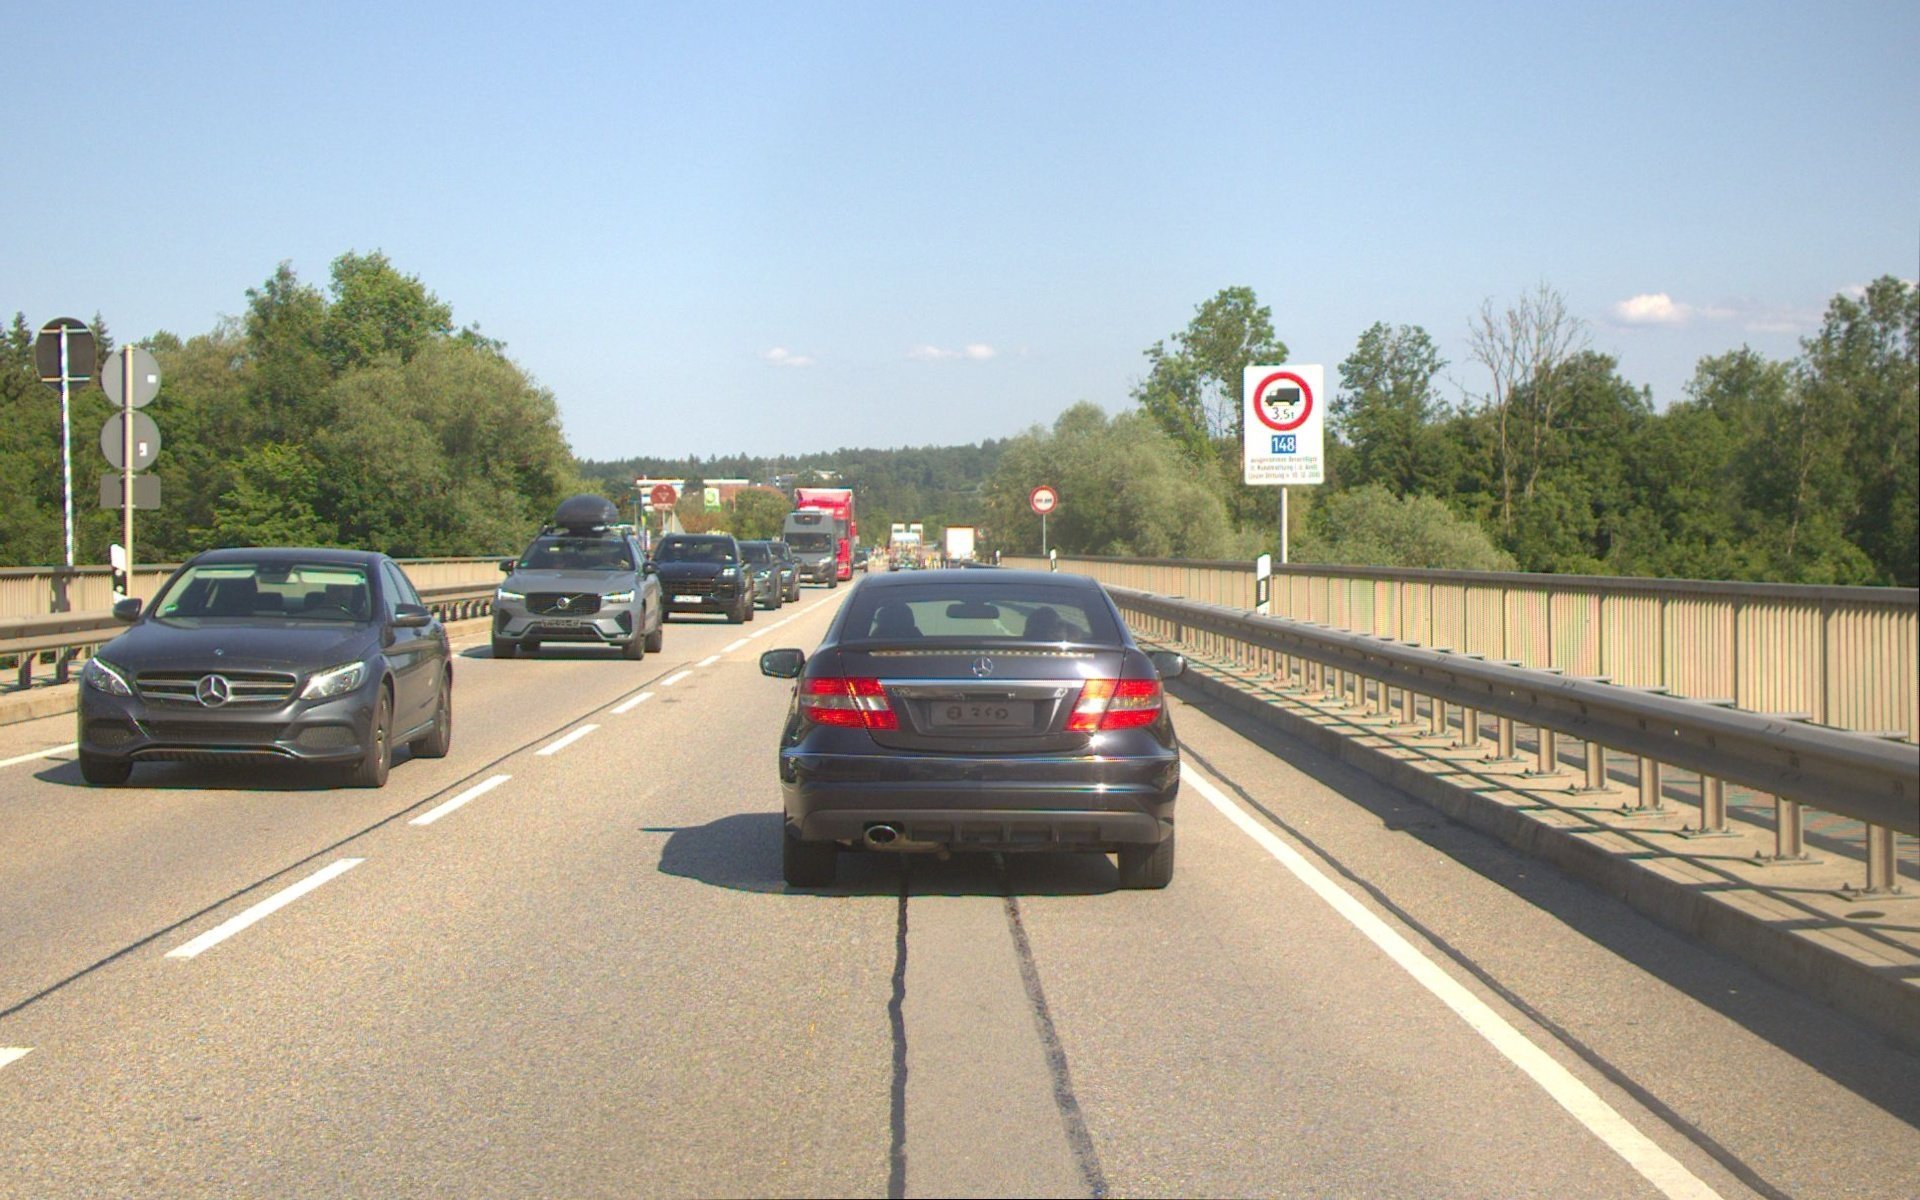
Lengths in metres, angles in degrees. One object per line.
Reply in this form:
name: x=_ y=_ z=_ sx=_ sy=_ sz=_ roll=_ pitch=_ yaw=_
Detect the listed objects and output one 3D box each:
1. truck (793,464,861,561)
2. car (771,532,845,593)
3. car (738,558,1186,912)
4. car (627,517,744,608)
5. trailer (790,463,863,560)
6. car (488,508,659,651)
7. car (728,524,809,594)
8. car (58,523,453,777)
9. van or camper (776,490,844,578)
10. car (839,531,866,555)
truck: x=-5.844 y=-3.848 z=151.634 sx=2.908 sy=4.170 sz=5.714 roll=1 pitch=1 yaw=-2
car: x=-4.073 y=-1.028 z=91.533 sx=1.874 sy=1.578 sz=4.275 roll=0 pitch=1 yaw=-4
car: x=0.022 y=0.520 z=15.880 sx=1.793 sy=1.371 sz=4.000 roll=1 pitch=1 yaw=0
car: x=-5.202 y=-0.743 z=65.669 sx=2.053 sy=1.647 sz=4.722 roll=1 pitch=1 yaw=-3
trailer: x=-6.274 y=-4.076 z=159.560 sx=2.907 sy=4.287 sz=14.305 roll=1 pitch=1 yaw=-4
car: x=-5.041 y=-0.316 z=45.367 sx=1.854 sy=1.716 sz=4.567 roll=2 pitch=2 yaw=-2
car: x=-4.498 y=-0.983 z=80.321 sx=1.806 sy=1.572 sz=4.202 roll=0 pitch=1 yaw=-4
car: x=-4.390 y=0.243 z=22.051 sx=1.765 sy=1.442 sz=4.457 roll=1 pitch=1 yaw=-2
van or camper: x=-5.445 y=-2.408 z=125.567 sx=2.315 sy=3.040 sz=6.818 roll=1 pitch=1 yaw=-2
car: x=-7.903 y=-4.214 z=253.679 sx=1.841 sy=1.636 sz=4.577 roll=-2 pitch=1 yaw=0
